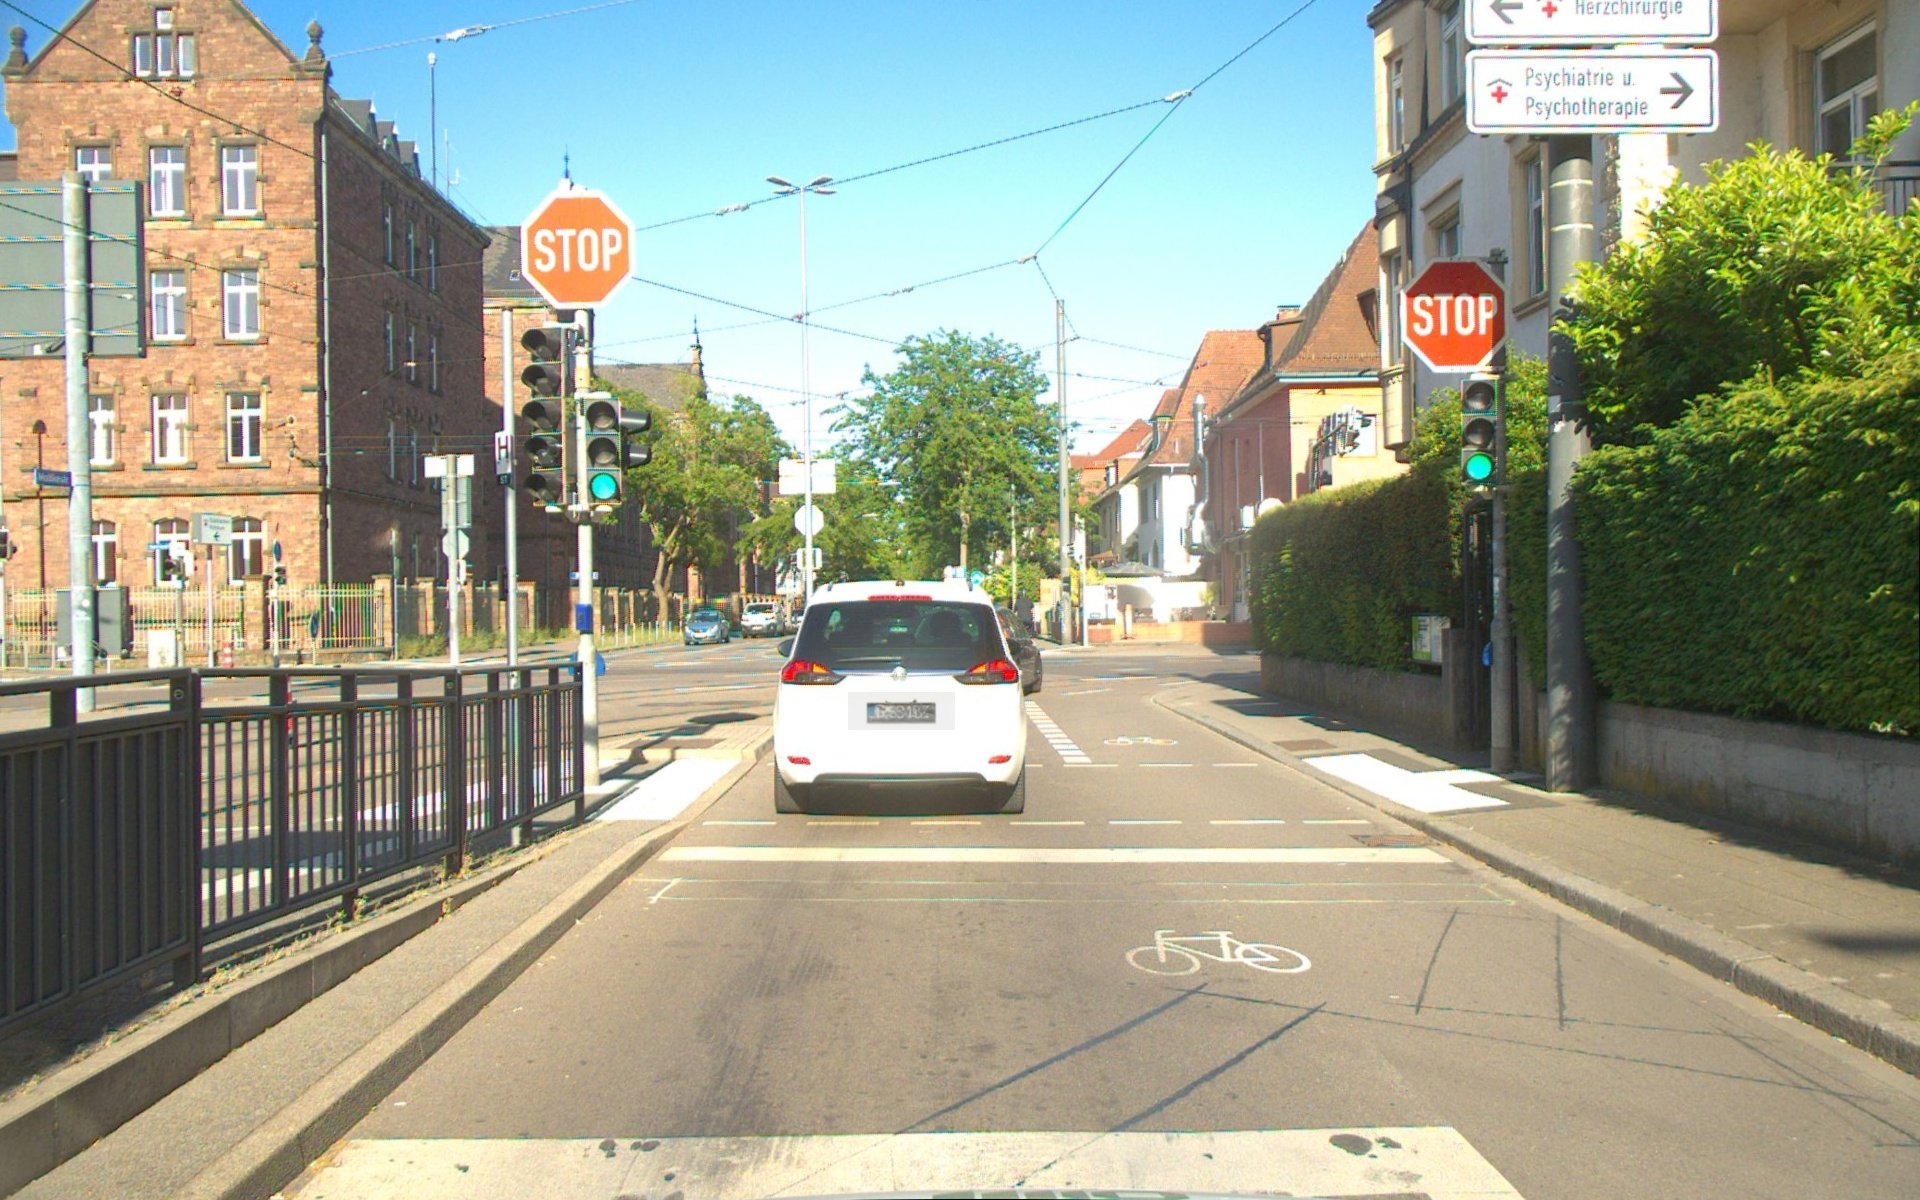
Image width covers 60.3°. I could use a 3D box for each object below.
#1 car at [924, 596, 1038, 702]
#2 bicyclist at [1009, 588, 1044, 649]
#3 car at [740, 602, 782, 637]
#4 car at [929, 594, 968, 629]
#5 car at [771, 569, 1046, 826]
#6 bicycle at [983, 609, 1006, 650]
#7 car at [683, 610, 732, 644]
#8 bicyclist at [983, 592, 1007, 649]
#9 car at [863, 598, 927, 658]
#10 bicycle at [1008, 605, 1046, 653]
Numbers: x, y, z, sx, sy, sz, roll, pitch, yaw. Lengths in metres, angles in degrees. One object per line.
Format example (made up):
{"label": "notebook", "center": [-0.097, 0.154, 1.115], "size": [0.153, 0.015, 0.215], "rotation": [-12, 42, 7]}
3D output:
{"label": "car", "center": [0.333, 0.685, 25.035], "size": [1.554, 1.445, 3.901], "rotation": [-1, 0, 1]}
{"label": "bicyclist", "center": [1.681, 0.469, 42.006], "size": [0.804, 1.528, 0.934], "rotation": [0, -1, -1]}
{"label": "car", "center": [-10.679, 1.025, 89.050], "size": [1.854, 1.815, 3.879], "rotation": [0, -1, -2]}
{"label": "car", "center": [-0.555, 0.584, 82.366], "size": [1.739, 1.660, 3.881], "rotation": [-1, -1, 2]}
{"label": "car", "center": [-0.343, 0.657, 12.850], "size": [1.797, 1.671, 3.918], "rotation": [0, -1, 0]}
{"label": "bicycle", "center": [1.042, 0.872, 49.151], "size": [0.671, 1.177, 1.620], "rotation": [0, -1, 2]}
{"label": "car", "center": [-11.332, 1.217, 74.324], "size": [1.548, 1.466, 3.585], "rotation": [-1, -1, 1]}
{"label": "bicyclist", "center": [1.043, 0.613, 49.132], "size": [0.671, 1.663, 1.016], "rotation": [0, -1, 2]}
{"label": "car", "center": [-1.850, 0.805, 48.328], "size": [1.740, 1.660, 3.880], "rotation": [0, -1, -1]}
{"label": "bicycle", "center": [1.687, 0.724, 41.981], "size": [0.812, 1.175, 2.094], "rotation": [0, -1, -1]}
